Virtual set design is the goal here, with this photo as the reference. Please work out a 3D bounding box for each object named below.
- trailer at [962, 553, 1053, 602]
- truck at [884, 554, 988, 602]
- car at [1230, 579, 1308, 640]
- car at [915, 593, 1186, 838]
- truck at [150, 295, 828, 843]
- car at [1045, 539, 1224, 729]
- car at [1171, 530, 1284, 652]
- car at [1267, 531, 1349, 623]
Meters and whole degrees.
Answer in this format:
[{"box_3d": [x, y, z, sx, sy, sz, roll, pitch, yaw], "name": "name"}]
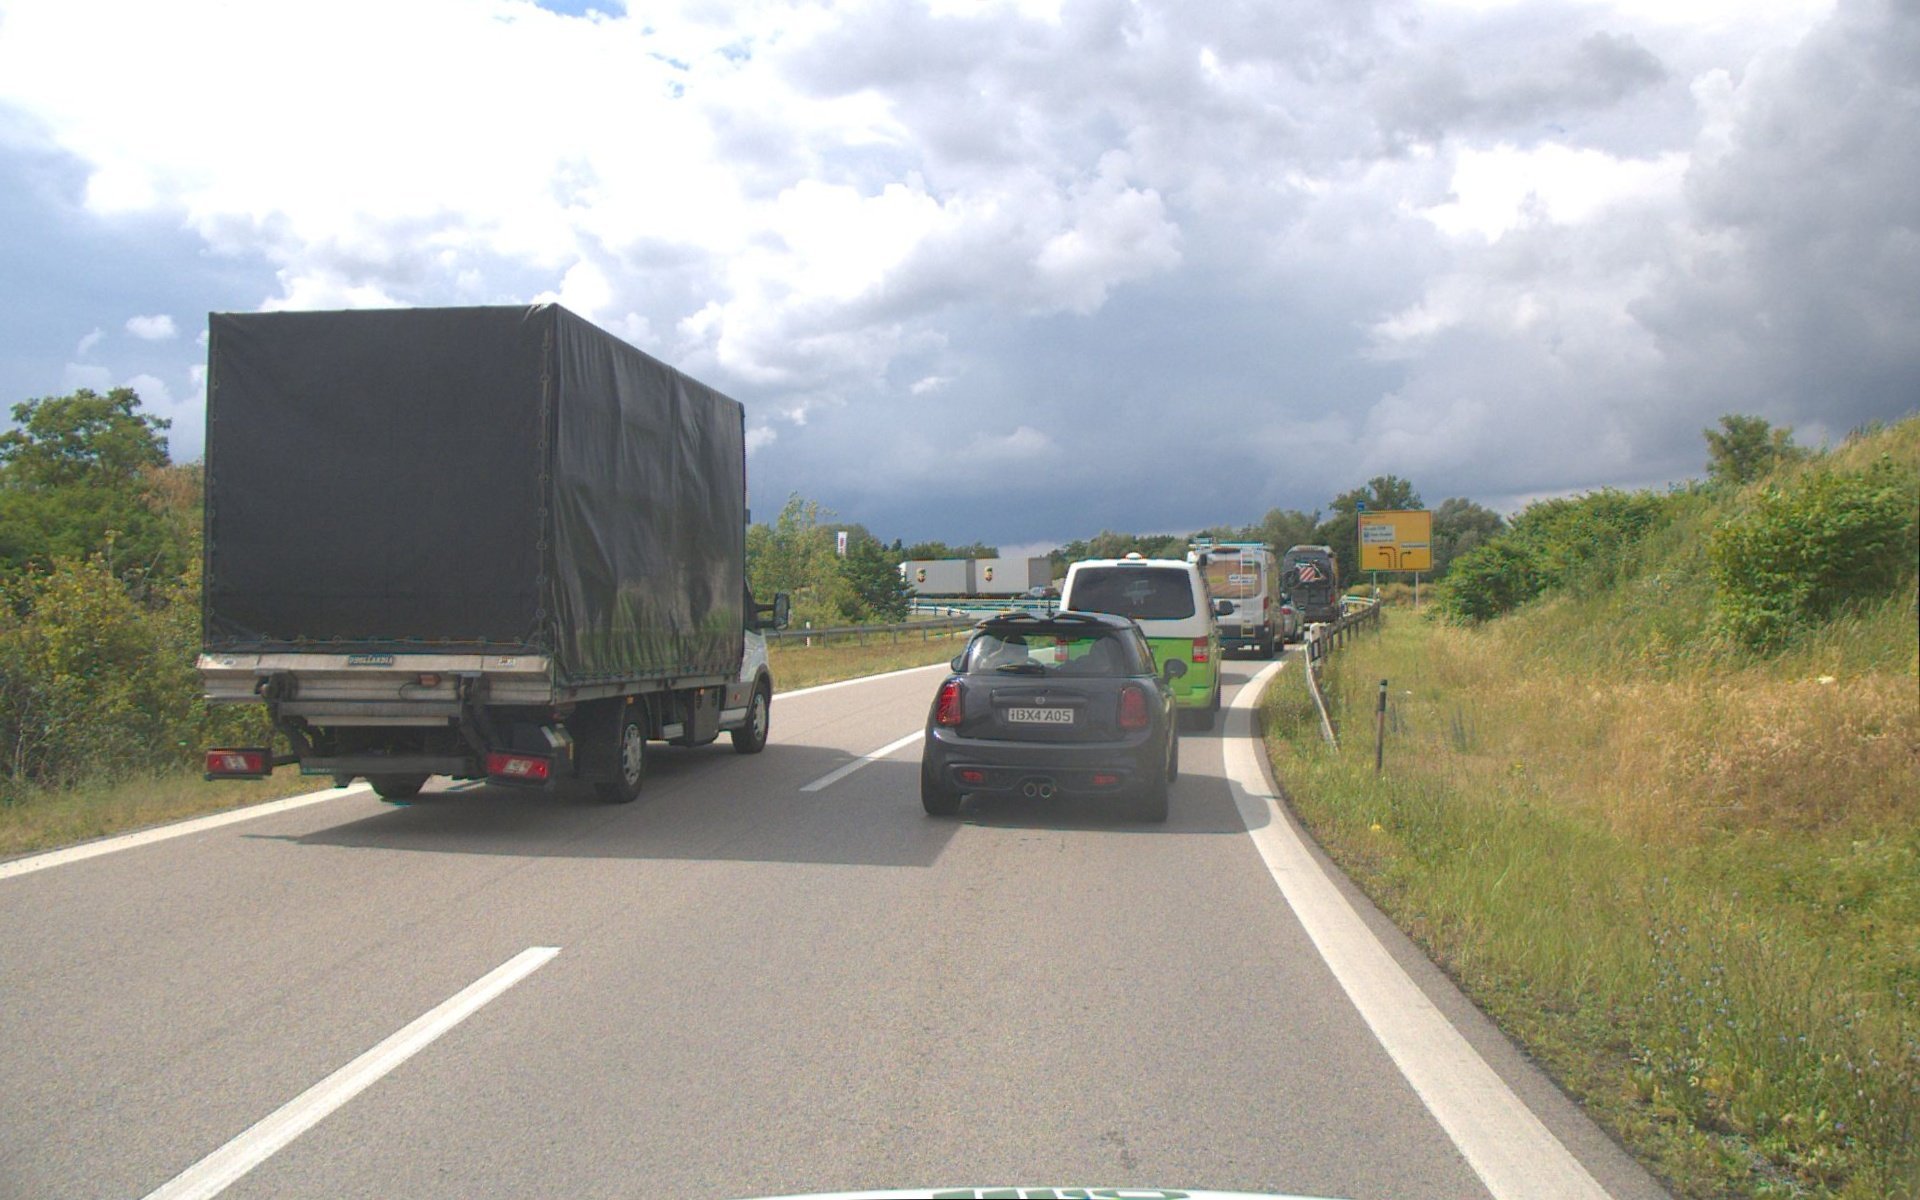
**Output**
[{"box_3d": [3.966, -1.879, 140.283, 3.012, 3.966, 8.660, 1, -1, -36], "name": "trailer"}, {"box_3d": [-2.229, -1.941, 146.920, 9.846, 4.046, 2.830, 1, -1, 41], "name": "truck"}, {"box_3d": [8.954, 0.279, 47.749, 1.951, 1.671, 3.931, 1, -1, 14], "name": "car"}, {"box_3d": [0.826, 0.745, 12.697, 1.761, 1.573, 3.741, 0, 0, 7], "name": "car"}, {"box_3d": [-3.139, -0.165, 13.587, 2.506, 3.223, 7.474, 1, -1, 8], "name": "truck"}, {"box_3d": [2.249, 0.372, 20.338, 1.870, 2.081, 4.184, 0, 0, 10], "name": "car"}, {"box_3d": [6.444, -0.176, 39.294, 2.164, 2.668, 5.538, 1, -1, 14], "name": "car"}, {"box_3d": [12.669, -0.743, 59.857, 2.262, 3.122, 6.665, 1, -1, 17], "name": "car"}]
